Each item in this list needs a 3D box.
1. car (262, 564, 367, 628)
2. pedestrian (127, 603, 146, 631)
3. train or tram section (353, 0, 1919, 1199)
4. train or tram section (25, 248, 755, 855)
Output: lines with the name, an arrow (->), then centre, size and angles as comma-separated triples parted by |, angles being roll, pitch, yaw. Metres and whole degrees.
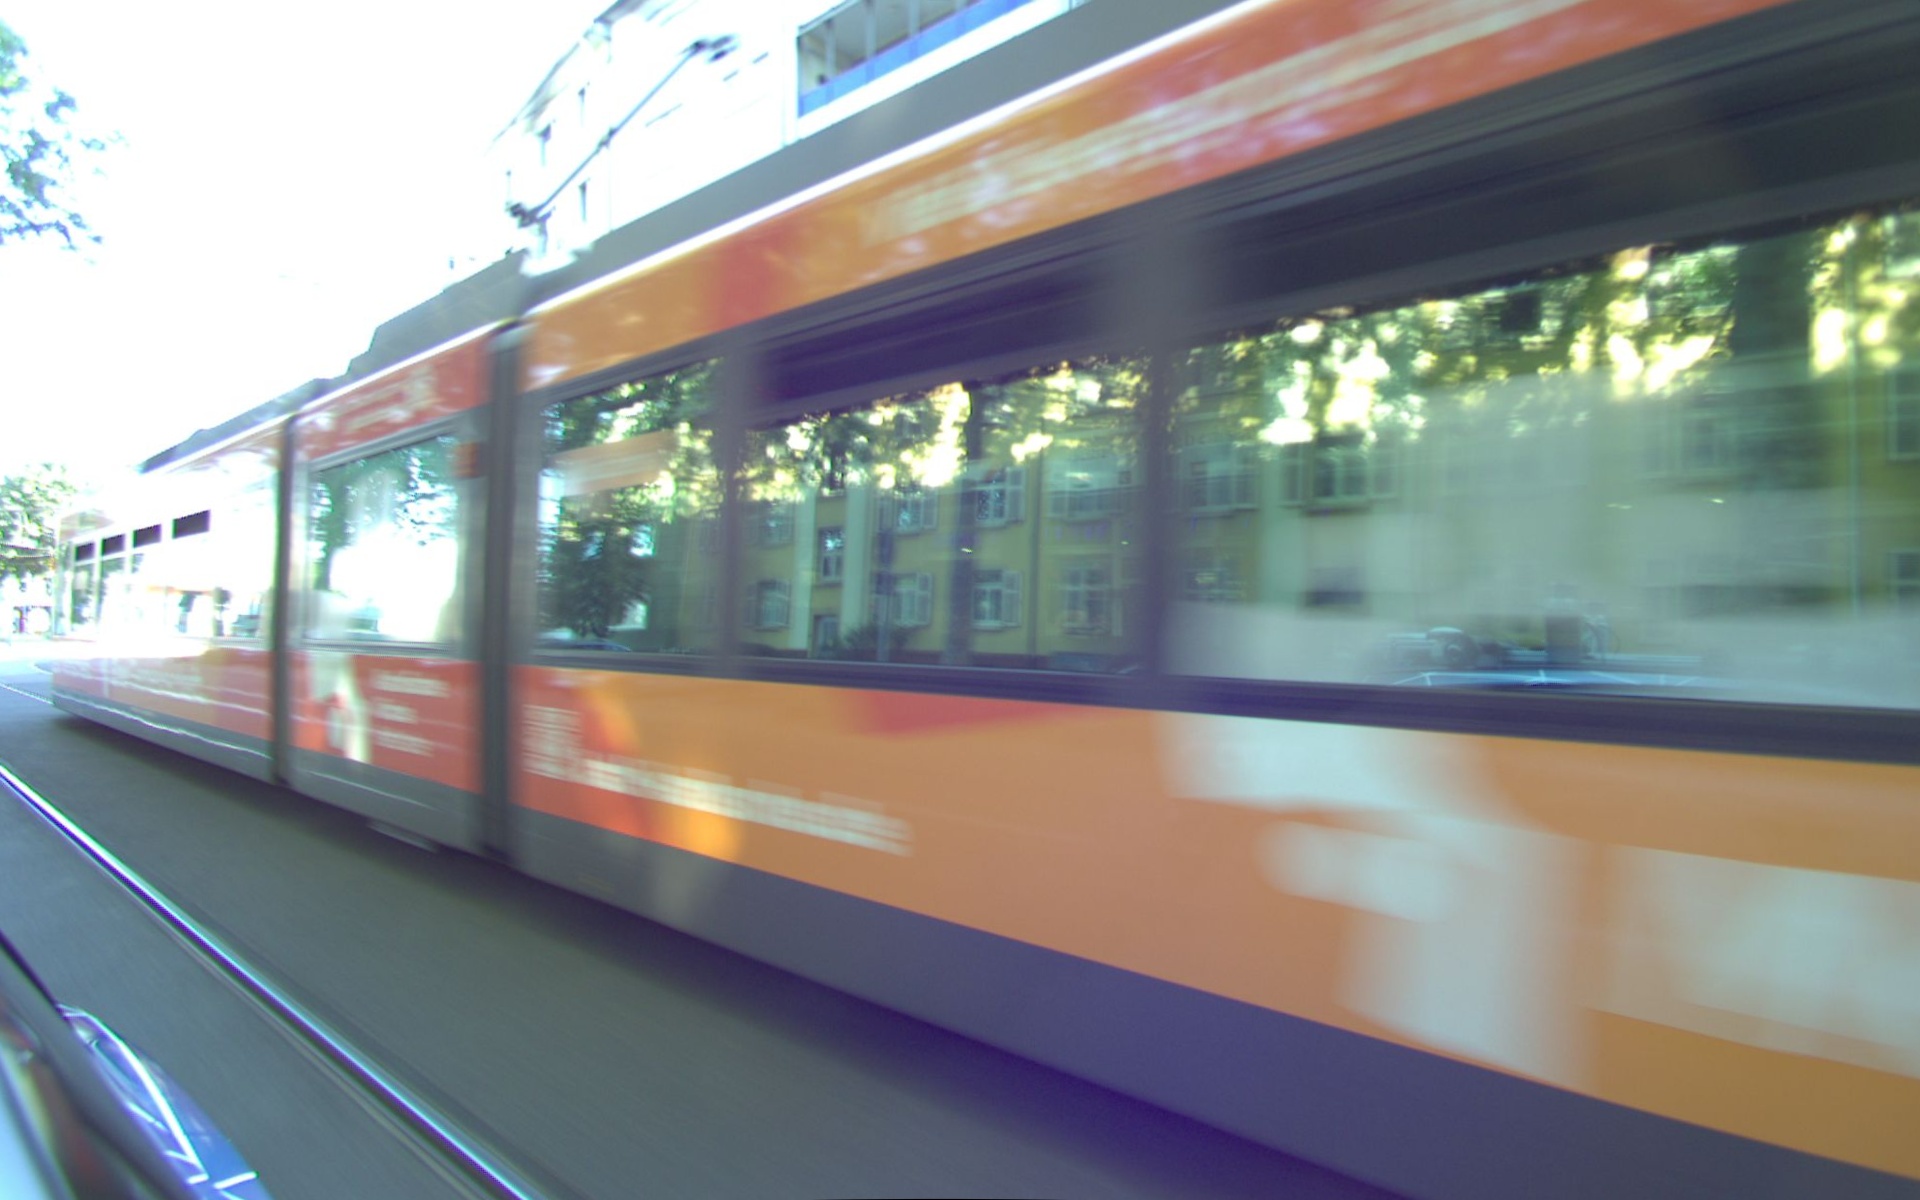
car -> -20.012, -0.059, 31.302 | 1.970, 1.846, 4.228 | 2, -2, -43
pedestrian -> -60.412, 1.249, 74.208 | 0.858, 2.029, 0.902 | -1, -1, 36
train or tram section -> 2.780, -0.337, 2.238 | 14.191, 3.512, 2.878 | -1, -1, 41
train or tram section -> -7.582, -0.198, 11.352 | 13.363, 3.512, 2.878 | -1, -1, 41
